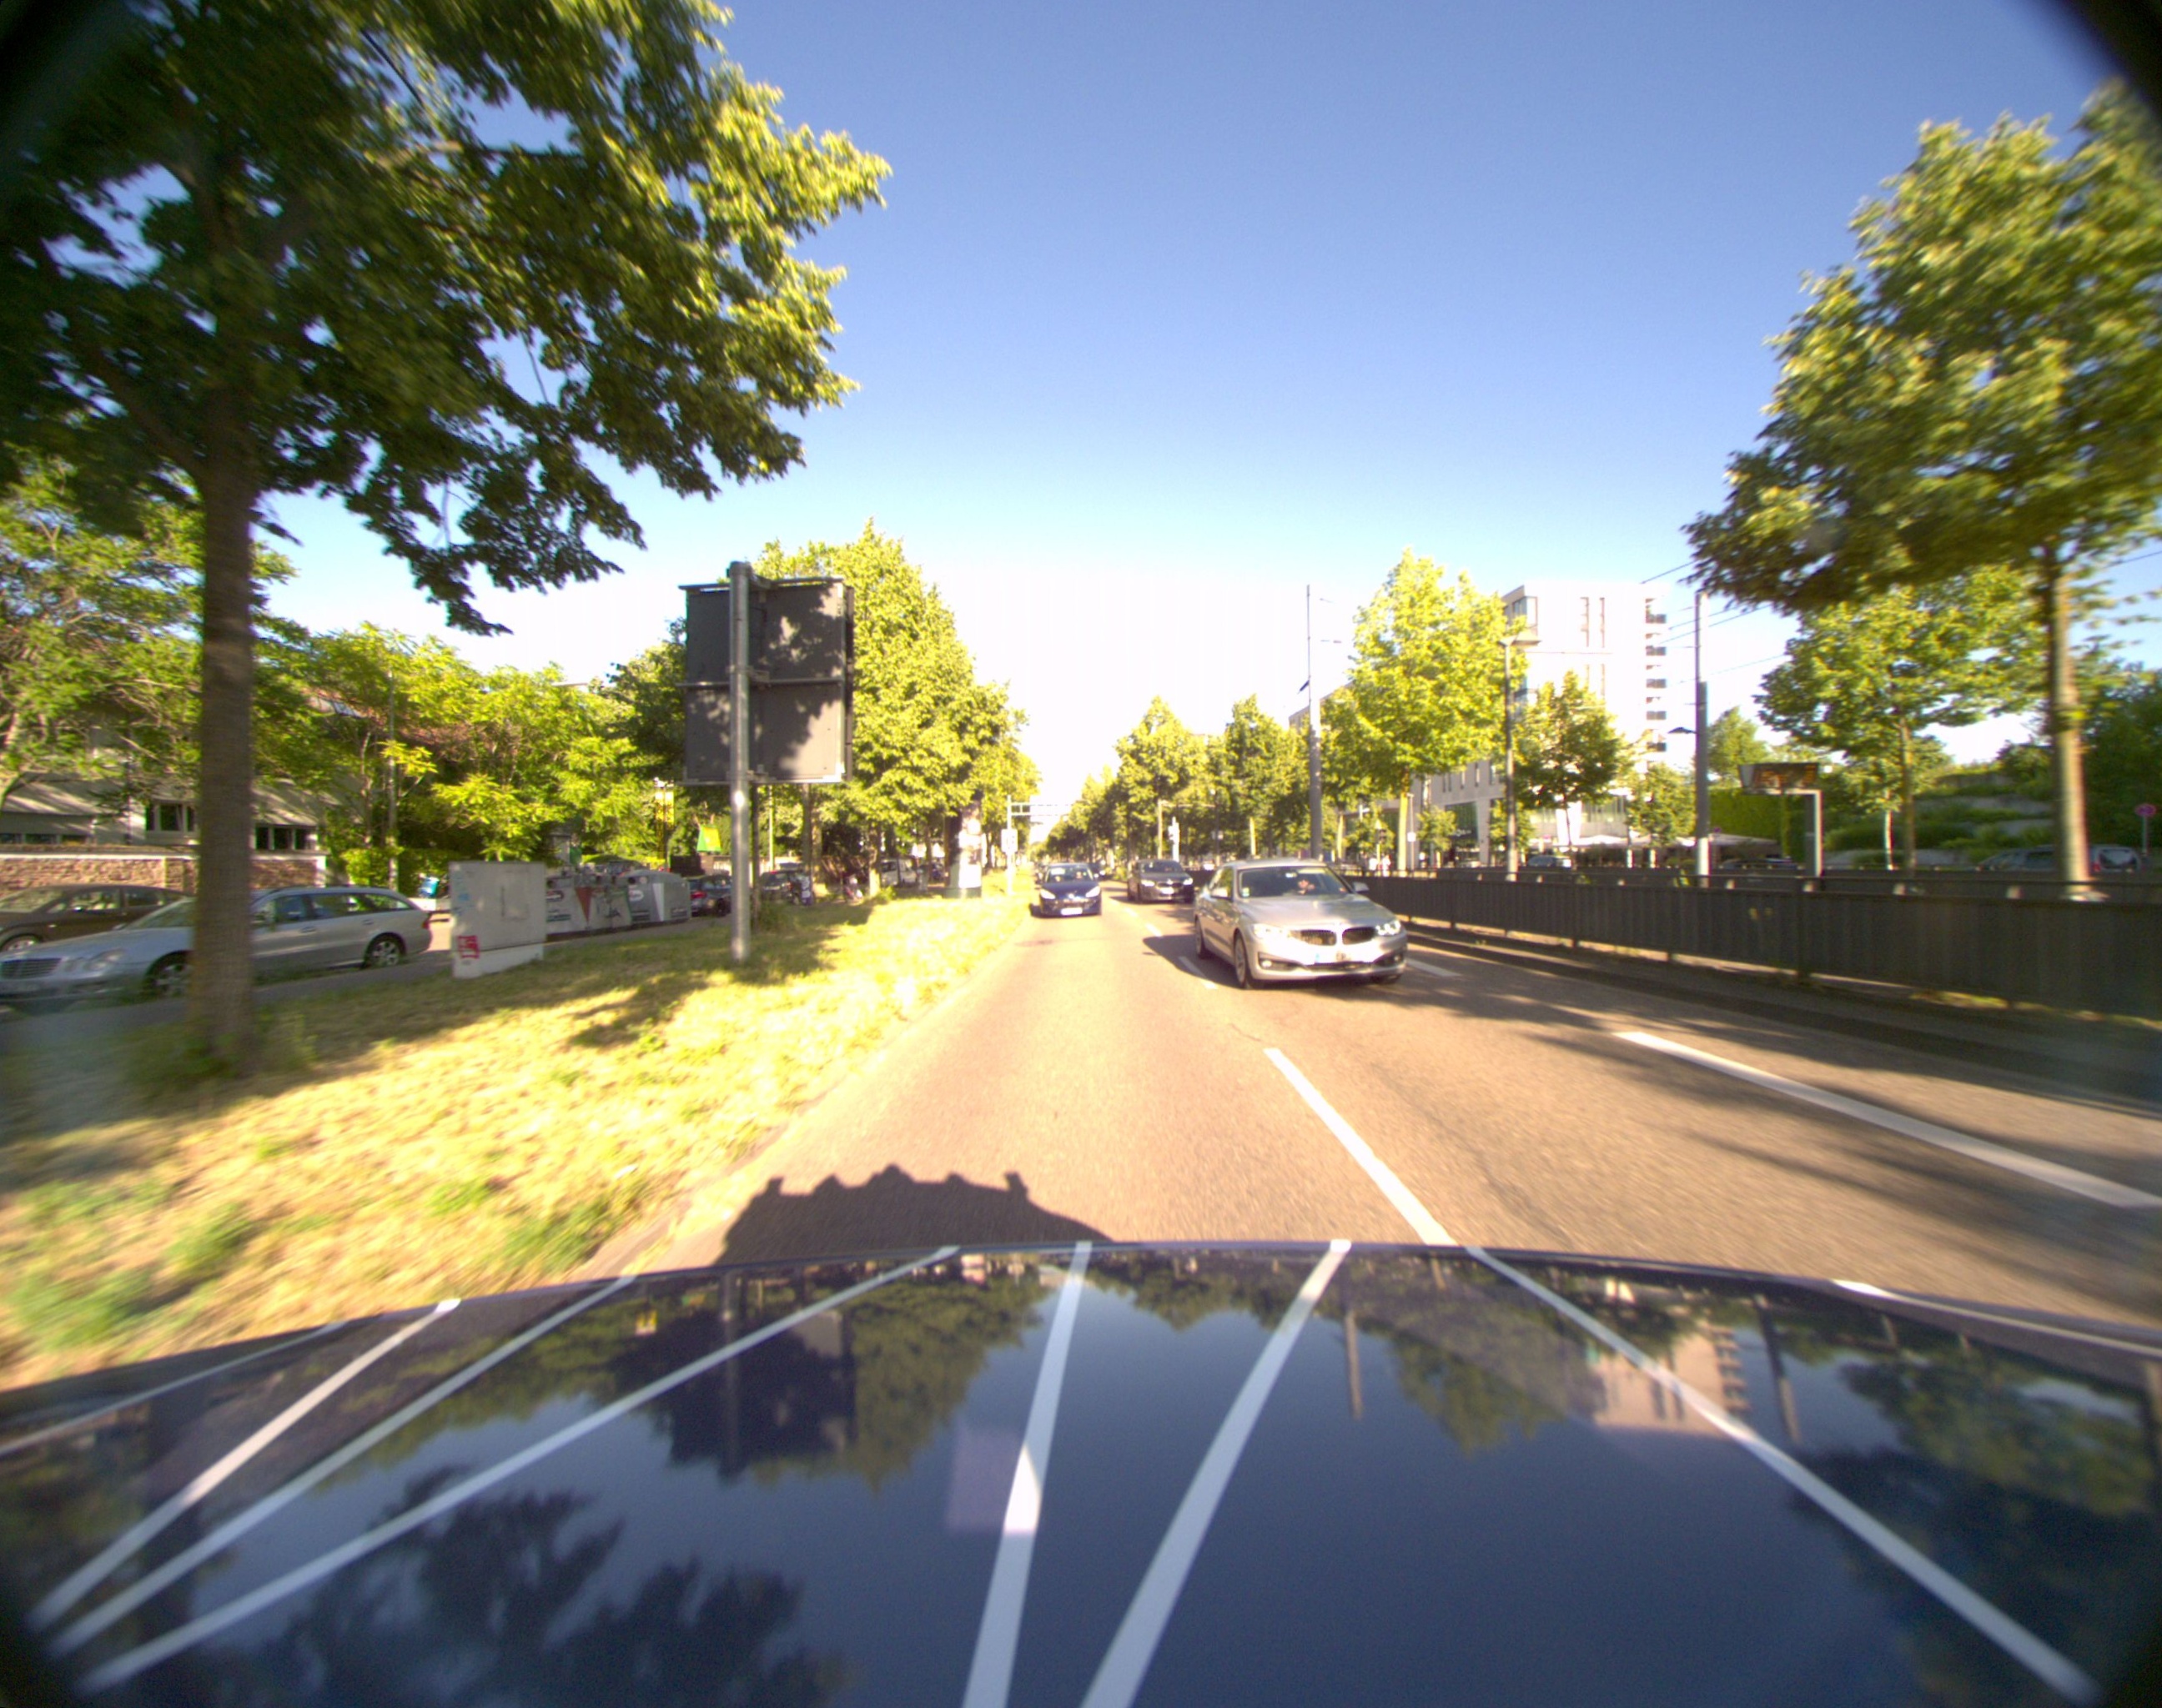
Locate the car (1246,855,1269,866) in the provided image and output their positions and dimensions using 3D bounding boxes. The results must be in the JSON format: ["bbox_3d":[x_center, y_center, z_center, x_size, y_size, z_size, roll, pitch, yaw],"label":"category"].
[{"bbox_3d":[25.547,0.968,110.133,1.999,1.433,4.454,-2,0,-4],"label":"car"}]

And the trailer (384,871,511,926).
[{"bbox_3d":[-21.139,1.443,25.504,1.735,1.631,3.023,1,1,1],"label":"trailer"}]

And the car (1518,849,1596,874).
[{"bbox_3d":[29.981,0.461,48.024,1.884,1.426,4.610,-1,0,-3],"label":"car"}]

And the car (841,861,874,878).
[{"bbox_3d":[-20.316,1.404,69.209,1.694,1.463,3.758,1,0,2],"label":"car"}]

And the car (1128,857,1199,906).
[{"bbox_3d":[2.797,0.914,26.635,1.951,1.513,3.999,-1,0,-1],"label":"car"}]

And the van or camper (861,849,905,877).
[{"bbox_3d":[-20.403,0.906,78.646,2.562,2.668,6.565,1,0,1],"label":"van or camper"}]

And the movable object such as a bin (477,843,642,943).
[{"bbox_3d":[-11.472,0.804,16.882,2.086,2.002,2.136,-2,1,0],"label":"movable object such as a bin"}]

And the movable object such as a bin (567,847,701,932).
[{"bbox_3d":[-11.463,0.872,19.650,2.086,2.002,2.136,-2,1,0],"label":"movable object such as a bin"}]

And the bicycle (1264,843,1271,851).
[{"bbox_3d":[31.931,-1.233,130.291,0.600,1.273,1.607,-2,1,-6],"label":"bicycle"}]

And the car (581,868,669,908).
[{"bbox_3d":[-20.859,1.532,34.923,1.999,1.598,3.478,3,0,-4],"label":"car"}]

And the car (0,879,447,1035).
[{"bbox_3d":[-12.259,1.253,11.013,1.876,1.515,5.055,-2,0,-1],"label":"car"}]

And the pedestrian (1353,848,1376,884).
[{"bbox_3d":[14.698,0.601,39.453,0.823,1.825,0.726,-2,1,-6],"label":"pedestrian"}]

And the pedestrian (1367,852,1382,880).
[{"bbox_3d":[15.844,0.650,41.024,0.551,1.509,0.588,-2,1,1],"label":"pedestrian"}]

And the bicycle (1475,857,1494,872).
[{"bbox_3d":[36.052,0.938,67.979,0.589,1.245,1.839,-2,1,-4],"label":"bicycle"}]

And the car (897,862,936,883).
[{"bbox_3d":[-11.650,1.273,54.026,1.999,1.282,4.051,-2,0,-2],"label":"car"}]

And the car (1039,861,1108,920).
[{"bbox_3d":[-0.280,1.001,22.355,1.767,1.462,3.999,-2,0,-2],"label":"car"}]

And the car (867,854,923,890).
[{"bbox_3d":[-11.605,1.079,47.911,2.196,2.002,5.818,-2,0,-2],"label":"car"}]

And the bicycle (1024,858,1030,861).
[{"bbox_3d":[-17.610,1.748,247.278,1.928,0.899,0.647,-1,0,-1],"label":"bicycle"}]

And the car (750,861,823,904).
[{"bbox_3d":[-11.529,1.094,29.958,1.666,1.492,2.988,-2,1,-1],"label":"car"}]

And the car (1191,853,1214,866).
[{"bbox_3d":[15.888,0.705,99.793,1.999,1.477,3.998,-2,0,-6],"label":"car"}]

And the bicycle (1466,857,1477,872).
[{"bbox_3d":[35.948,0.946,70.027,0.588,1.245,1.842,-2,1,18],"label":"bicycle"}]

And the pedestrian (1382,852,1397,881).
[{"bbox_3d":[16.348,0.647,40.281,0.544,1.488,0.603,-2,1,0],"label":"pedestrian"}]

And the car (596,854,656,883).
[{"bbox_3d":[-34.824,1.061,58.262,1.998,2.002,4.000,-2,1,2],"label":"car"}]

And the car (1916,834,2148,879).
[{"bbox_3d":[31.620,0.064,25.542,1.918,1.317,4.609,-2,0,-2],"label":"car"}]

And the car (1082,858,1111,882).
[{"bbox_3d":[1.071,1.138,55.383,1.783,1.571,3.782,-2,0,-3],"label":"car"}]

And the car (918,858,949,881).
[{"bbox_3d":[-11.791,1.197,61.136,1.741,1.632,4.351,-2,1,-2],"label":"car"}]

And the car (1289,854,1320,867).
[{"bbox_3d":[27.225,0.787,92.637,1.999,1.433,4.453,-2,0,-6],"label":"car"}]

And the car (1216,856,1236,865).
[{"bbox_3d":[25.102,1.045,131.620,1.999,1.433,4.922,-2,0,-6],"label":"car"}]

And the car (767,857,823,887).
[{"bbox_3d":[-20.838,1.255,55.557,2.092,2.002,4.942,-1,0,1],"label":"car"}]

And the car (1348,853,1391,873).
[{"bbox_3d":[28.419,0.861,74.954,1.999,1.761,4.773,-2,0,-6],"label":"car"}]

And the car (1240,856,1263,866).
[{"bbox_3d":[25.830,1.091,115.301,1.999,1.433,4.776,-2,0,-6],"label":"car"}]

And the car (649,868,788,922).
[{"bbox_3d":[-11.438,1.237,24.441,2.004,1.376,4.745,-2,0,2],"label":"car"}]

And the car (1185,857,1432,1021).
[{"bbox_3d":[2.635,0.881,9.952,1.887,1.569,4.277,-2,0,0],"label":"car"}]

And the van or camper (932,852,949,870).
[{"bbox_3d":[-21.130,1.028,114.568,2.000,2.715,4.961,2,0,-6],"label":"van or camper"}]

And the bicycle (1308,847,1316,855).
[{"bbox_3d":[32.117,-0.438,105.676,0.380,1.011,1.799,-2,1,-2],"label":"bicycle"}]

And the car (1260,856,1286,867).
[{"bbox_3d":[26.221,0.975,104.149,1.999,1.433,4.453,-2,0,-6],"label":"car"}]

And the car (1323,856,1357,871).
[{"bbox_3d":[27.831,1.009,81.718,1.963,1.433,4.264,-2,0,-3],"label":"car"}]

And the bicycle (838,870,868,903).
[{"bbox_3d":[-7.934,1.123,26.549,0.494,1.040,1.903,-2,1,-2],"label":"bicycle"}]

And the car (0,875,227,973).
[{"bbox_3d":[-21.038,1.351,15.850,1.999,1.630,3.999,2,0,-2],"label":"car"}]

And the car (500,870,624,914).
[{"bbox_3d":[-20.750,1.462,30.612,1.998,1.474,4.324,1,0,1],"label":"car"}]

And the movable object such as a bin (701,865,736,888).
[{"bbox_3d":[-23.972,1.457,50.233,1.649,1.461,1.485,1,0,-5],"label":"movable object such as a bin"}]

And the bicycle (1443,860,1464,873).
[{"bbox_3d":[35.735,1.175,72.997,0.735,1.191,2.239,-2,1,-4],"label":"bicycle"}]

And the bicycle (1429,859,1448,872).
[{"bbox_3d":[35.601,1.162,75.721,0.735,1.191,2.239,-2,1,-4],"label":"bicycle"}]

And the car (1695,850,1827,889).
[{"bbox_3d":[31.608,0.679,35.540,1.884,1.611,4.609,-2,0,-2],"label":"car"}]
